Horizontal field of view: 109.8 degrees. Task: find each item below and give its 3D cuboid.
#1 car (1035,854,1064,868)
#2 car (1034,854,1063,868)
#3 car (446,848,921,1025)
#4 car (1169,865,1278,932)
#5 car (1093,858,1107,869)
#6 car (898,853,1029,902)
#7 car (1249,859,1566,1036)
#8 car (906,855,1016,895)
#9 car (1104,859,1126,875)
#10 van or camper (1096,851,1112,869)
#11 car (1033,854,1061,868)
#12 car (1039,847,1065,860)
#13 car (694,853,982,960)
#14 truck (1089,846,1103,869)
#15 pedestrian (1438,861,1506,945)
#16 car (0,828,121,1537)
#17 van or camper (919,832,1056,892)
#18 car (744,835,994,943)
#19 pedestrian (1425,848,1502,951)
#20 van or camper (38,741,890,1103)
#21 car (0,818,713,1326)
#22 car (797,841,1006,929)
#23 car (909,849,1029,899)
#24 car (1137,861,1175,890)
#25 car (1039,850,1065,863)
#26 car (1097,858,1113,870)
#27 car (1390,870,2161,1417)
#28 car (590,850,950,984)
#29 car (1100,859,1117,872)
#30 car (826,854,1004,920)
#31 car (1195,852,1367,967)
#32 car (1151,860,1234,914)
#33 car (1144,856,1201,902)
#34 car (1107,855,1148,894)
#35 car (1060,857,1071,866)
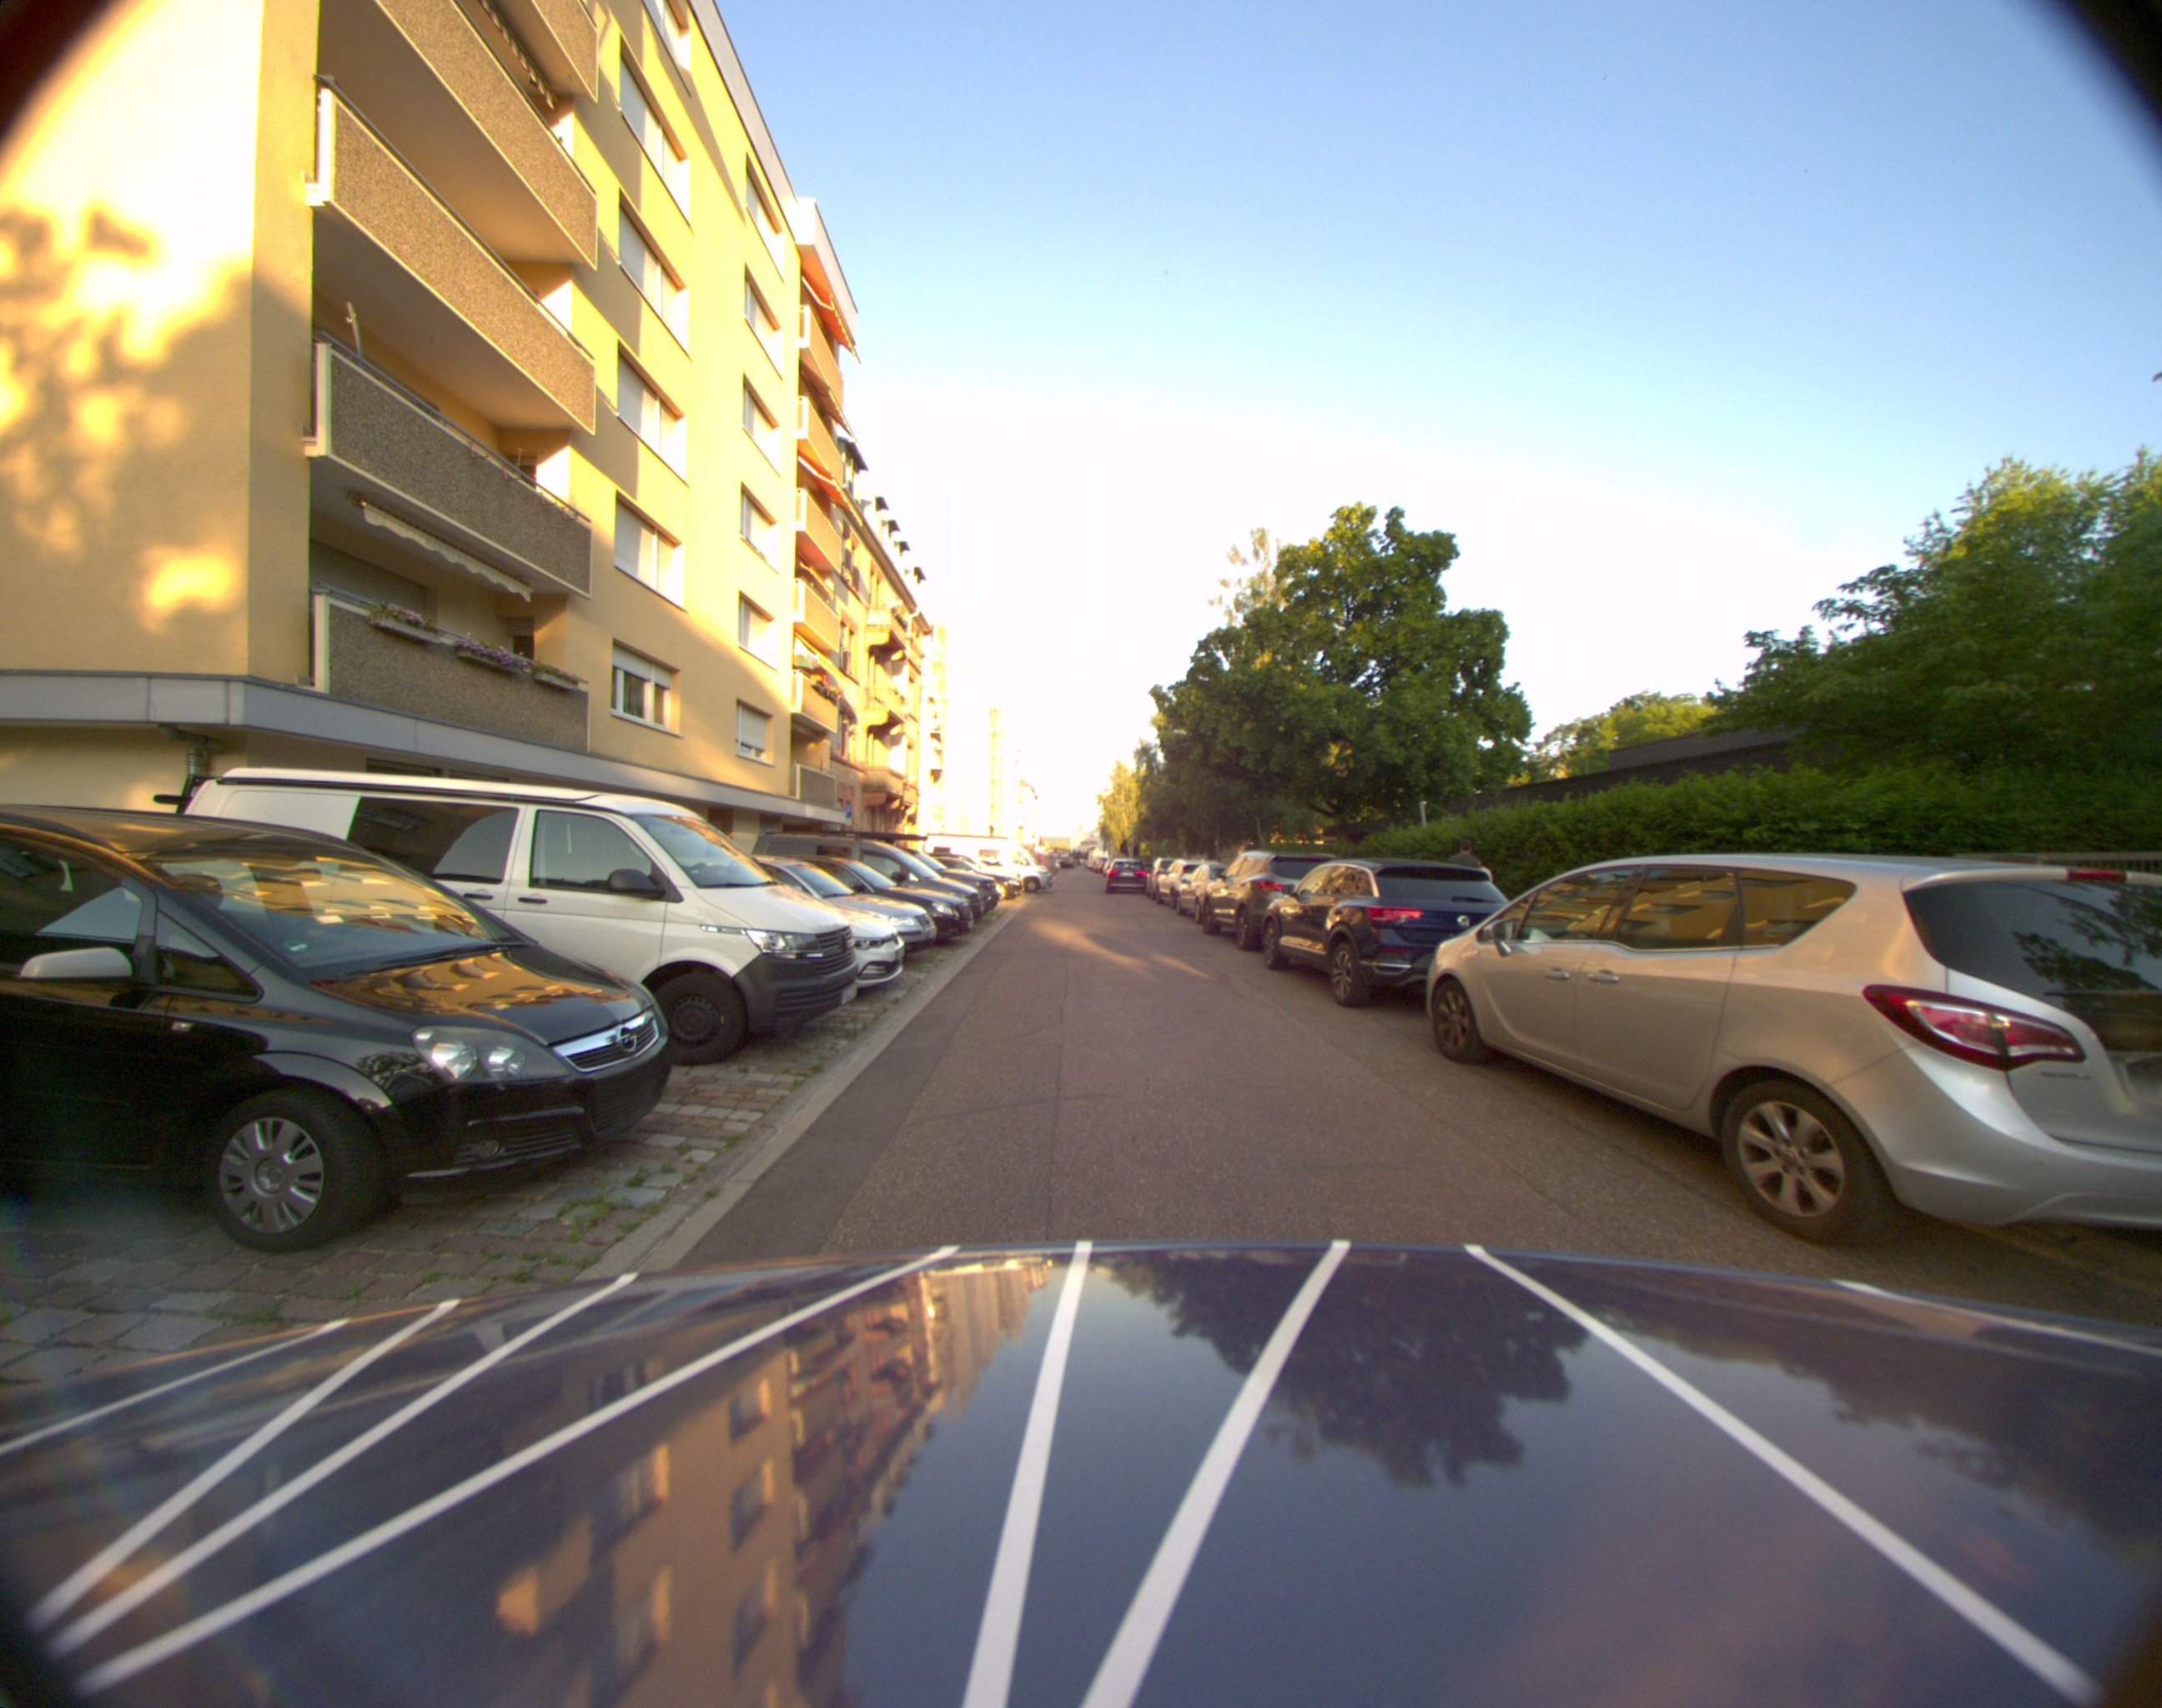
[{"bbox_3d":[-4.481,0.962,107.208,3.997,2.002,2.000,0,0,-1],"label":"car"},{"bbox_3d":[-4.505,0.965,104.989,3.997,2.002,2.000,0,0,-1],"label":"car"},{"bbox_3d":[-4.236,0.842,8.656,4.415,1.622,1.845,2,2,-1],"label":"car"},{"bbox_3d":[3.523,1.052,19.525,1.738,1.418,4.286,2,0,-3],"label":"car"},{"bbox_3d":[2.737,1.357,110.914,1.738,1.502,4.291,2,0,-1],"label":"car"},{"bbox_3d":[-4.185,0.829,27.593,4.414,1.545,1.845,2,2,0],"label":"car"},{"bbox_3d":[3.439,0.869,8.991,1.738,1.558,4.166,2,0,-3],"label":"car"},{"bbox_3d":[-5.093,0.865,32.689,4.414,1.610,1.845,0,2,1],"label":"car"},{"bbox_3d":[3.182,1.200,72.110,1.738,1.358,4.291,2,0,-1],"label":"car"},{"bbox_3d":[3.067,0.796,101.709,1.825,2.400,4.291,2,0,-1],"label":"van or camper"},{"bbox_3d":[-4.861,0.961,109.753,3.997,2.002,2.000,0,0,-1],"label":"car"},{"bbox_3d":[-4.603,-0.061,121.410,3.997,2.002,2.000,0,0,-1],"label":"car"},{"bbox_3d":[-4.075,0.860,13.279,4.415,1.554,1.845,2,2,-1],"label":"car"},{"bbox_3d":[2.551,0.562,128.856,2.183,3.860,4.926,0,0,0],"label":"truck"},{"bbox_3d":[7.357,0.890,14.333,0.750,1.499,0.901,-2,0,-2],"label":"pedestrian"},{"bbox_3d":[-4.666,0.677,0.948,4.416,1.652,1.844,3,2,-3],"label":"car"},{"bbox_3d":[-4.278,0.371,35.549,6.075,2.489,2.050,2,0,0],"label":"van or camper"},{"bbox_3d":[-4.267,0.663,15.849,4.649,1.970,1.845,2,2,-1],"label":"car"},{"bbox_3d":[6.711,0.775,13.360,0.901,1.722,0.750,-2,0,-2],"label":"pedestrian"},{"bbox_3d":[-4.455,0.490,6.251,5.147,2.155,2.039,4,1,-2],"label":"van or camper"},{"bbox_3d":[-4.349,0.750,3.532,4.338,1.652,1.780,3,2,-3],"label":"car"},{"bbox_3d":[-4.167,0.702,18.192,4.524,1.852,1.845,2,0,-1],"label":"car"},{"bbox_3d":[-4.379,0.761,30.163,4.413,1.738,1.846,2,1,3],"label":"car"},{"bbox_3d":[3.995,1.130,40.919,1.624,1.417,3.415,2,0,0],"label":"car"},{"bbox_3d":[-4.486,0.340,118.258,3.997,2.002,2.000,0,0,-1],"label":"car"},{"bbox_3d":[3.054,1.273,96.195,1.738,1.502,4.291,2,0,-1],"label":"car"},{"bbox_3d":[3.598,0.930,4.362,1.738,1.558,4.128,2,0,-3],"label":"car"},{"bbox_3d":[-4.273,0.832,10.968,4.415,1.584,1.845,2,2,-1],"label":"car"},{"bbox_3d":[3.207,1.348,90.347,1.738,1.358,4.291,2,0,-1],"label":"car"},{"bbox_3d":[-4.461,0.862,20.886,4.414,1.545,1.845,2,2,2],"label":"car"},{"bbox_3d":[3.410,0.871,13.875,1.738,1.720,4.322,2,0,-3],"label":"car"},{"bbox_3d":[3.480,0.986,24.416,1.764,1.534,4.279,2,0,-3],"label":"car"},{"bbox_3d":[3.507,0.935,29.756,1.738,1.621,3.980,2,0,0],"label":"car"},{"bbox_3d":[2.107,0.919,35.117,1.737,1.621,4.126,2,0,3],"label":"car"},{"bbox_3d":[-2.657,1.265,130.335,1.738,1.502,4.291,2,0,-1],"label":"car"}]
